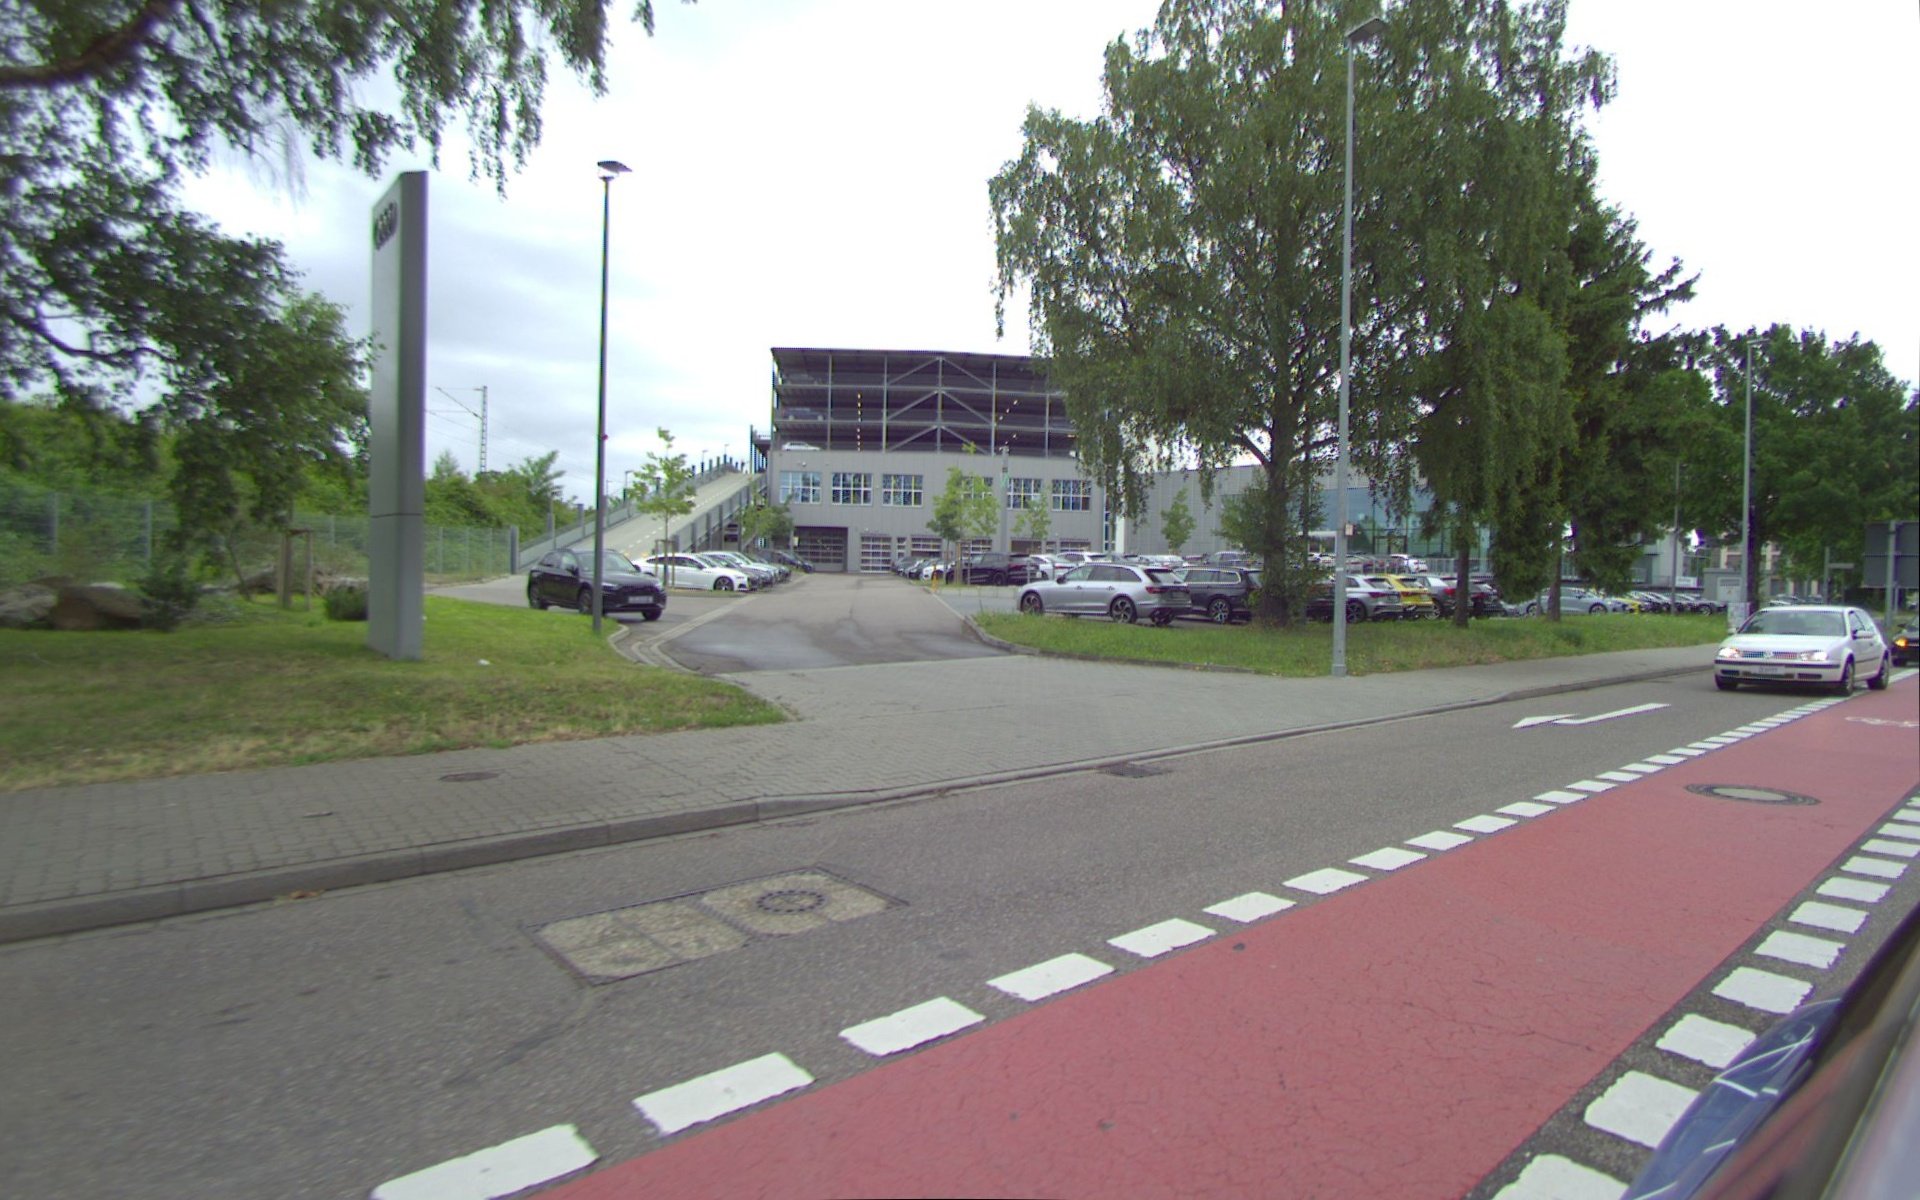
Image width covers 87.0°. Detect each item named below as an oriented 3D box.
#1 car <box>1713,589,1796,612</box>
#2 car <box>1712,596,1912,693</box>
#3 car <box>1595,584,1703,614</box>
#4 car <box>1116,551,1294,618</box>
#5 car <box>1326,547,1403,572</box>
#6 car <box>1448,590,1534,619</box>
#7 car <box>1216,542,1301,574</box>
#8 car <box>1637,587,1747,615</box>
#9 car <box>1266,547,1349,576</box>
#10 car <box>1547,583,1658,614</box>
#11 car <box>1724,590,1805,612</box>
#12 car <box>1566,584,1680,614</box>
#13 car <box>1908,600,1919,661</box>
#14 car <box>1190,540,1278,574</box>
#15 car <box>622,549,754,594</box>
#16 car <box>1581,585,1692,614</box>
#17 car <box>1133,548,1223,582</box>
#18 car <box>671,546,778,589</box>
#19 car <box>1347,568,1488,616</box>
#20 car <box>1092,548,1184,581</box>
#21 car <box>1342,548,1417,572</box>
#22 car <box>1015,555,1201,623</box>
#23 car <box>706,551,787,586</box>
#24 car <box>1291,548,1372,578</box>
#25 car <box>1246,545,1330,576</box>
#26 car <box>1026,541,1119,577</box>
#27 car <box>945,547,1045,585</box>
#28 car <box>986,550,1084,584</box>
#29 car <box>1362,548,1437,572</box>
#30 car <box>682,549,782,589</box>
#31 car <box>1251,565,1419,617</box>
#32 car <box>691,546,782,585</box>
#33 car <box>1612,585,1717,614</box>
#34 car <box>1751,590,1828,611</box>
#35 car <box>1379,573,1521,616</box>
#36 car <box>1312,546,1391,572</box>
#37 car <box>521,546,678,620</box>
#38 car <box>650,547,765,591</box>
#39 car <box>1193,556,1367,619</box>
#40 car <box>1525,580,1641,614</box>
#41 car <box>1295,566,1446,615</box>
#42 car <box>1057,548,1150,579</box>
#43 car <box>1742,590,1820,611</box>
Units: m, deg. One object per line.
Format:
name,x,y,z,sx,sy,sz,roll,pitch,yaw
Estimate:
car,52.303,0.063,66.663,1.697,1.410,4.037,0,-1,-40
car,14.439,0.674,17.094,3.867,1.442,1.727,0,0,-36
car,35.721,-0.014,52.550,1.811,1.463,4.304,0,-1,-40
car,6.458,-0.344,27.044,1.935,1.621,4.302,0,-1,-42
car,26.279,-2.607,65.808,1.801,1.381,4.302,0,-1,-42
car,33.219,0.313,63.383,1.937,1.622,4.304,1,-3,-40
car,16.817,-2.323,57.089,1.801,1.545,4.302,0,-1,-42
car,41.487,0.082,57.450,1.868,1.442,4.759,0,-1,-40
car,20.638,-2.262,60.216,1.833,1.451,4.302,0,-1,-42
car,30.250,-0.037,47.741,1.763,1.395,4.053,0,-1,-39
car,54.212,0.069,68.257,1.697,1.410,4.037,0,-1,-40
car,32.064,-0.037,49.053,1.708,1.375,4.304,0,-1,-40
car,24.549,0.729,24.579,3.930,1.442,1.835,0,0,-41
car,14.900,-2.314,55.217,1.827,1.546,4.302,0,-1,-42
car,-10.125,-1.039,37.965,4.579,1.587,1.907,0,-1,-8
car,34.001,0.006,50.937,1.806,1.396,4.305,0,-1,-40
car,11.155,-1.758,52.021,1.801,1.554,4.302,0,-1,-42
car,-9.911,-1.355,42.884,4.225,1.712,1.971,0,-1,-6
car,14.937,-0.219,33.141,1.919,1.441,3.756,0,-1,-41
car,8.714,-1.719,49.833,1.801,1.389,4.302,0,-1,-42
car,27.982,-2.655,67.608,1.801,1.381,4.302,0,-1,-42
car,3.498,-0.277,24.512,4.299,1.508,1.712,1,1,45
car,-11.750,-1.752,55.925,4.225,1.828,1.971,0,-1,-6
car,22.660,-2.243,61.894,1.861,1.612,4.307,0,-1,-39
car,18.925,-2.263,58.523,1.801,1.531,4.302,0,-1,-42
car,5.197,-1.869,47.143,1.671,1.400,4.302,0,-1,-42
car,1.454,-1.432,43.450,1.801,1.391,4.302,0,-1,-42
car,3.307,-1.441,45.196,1.801,1.307,4.302,0,-1,-42
car,30.084,-2.710,69.351,1.801,1.381,4.302,0,-1,-42
car,-10.203,-1.365,45.564,4.225,1.682,1.971,0,-1,-6
car,10.970,-0.213,29.837,1.868,1.400,4.306,0,-1,-39
car,-11.044,-1.692,50.186,4.225,1.828,1.971,0,-1,-6
car,37.704,0.011,54.233,1.811,1.463,4.304,0,-1,-40
car,60.140,0.062,73.418,1.697,1.410,4.037,0,-1,-40
car,16.838,-0.154,34.943,1.868,1.371,4.000,0,-1,-39
car,24.583,-2.568,63.643,1.801,1.381,4.302,0,-1,-42
car,-8.908,-0.464,24.810,4.299,1.608,1.938,4,3,44
car,-10.020,-1.220,40.427,4.225,1.674,1.971,0,-1,-6
car,8.877,-0.291,28.395,1.934,1.621,4.306,0,-1,-39
car,28.402,-0.106,46.244,1.708,1.450,4.195,0,-1,-40
car,12.674,-0.242,31.421,1.777,1.396,4.004,0,-1,-38
car,6.904,-1.723,48.877,1.801,1.263,4.302,0,-1,-42
car,58.128,0.070,71.724,1.697,1.410,4.037,0,-1,-40
